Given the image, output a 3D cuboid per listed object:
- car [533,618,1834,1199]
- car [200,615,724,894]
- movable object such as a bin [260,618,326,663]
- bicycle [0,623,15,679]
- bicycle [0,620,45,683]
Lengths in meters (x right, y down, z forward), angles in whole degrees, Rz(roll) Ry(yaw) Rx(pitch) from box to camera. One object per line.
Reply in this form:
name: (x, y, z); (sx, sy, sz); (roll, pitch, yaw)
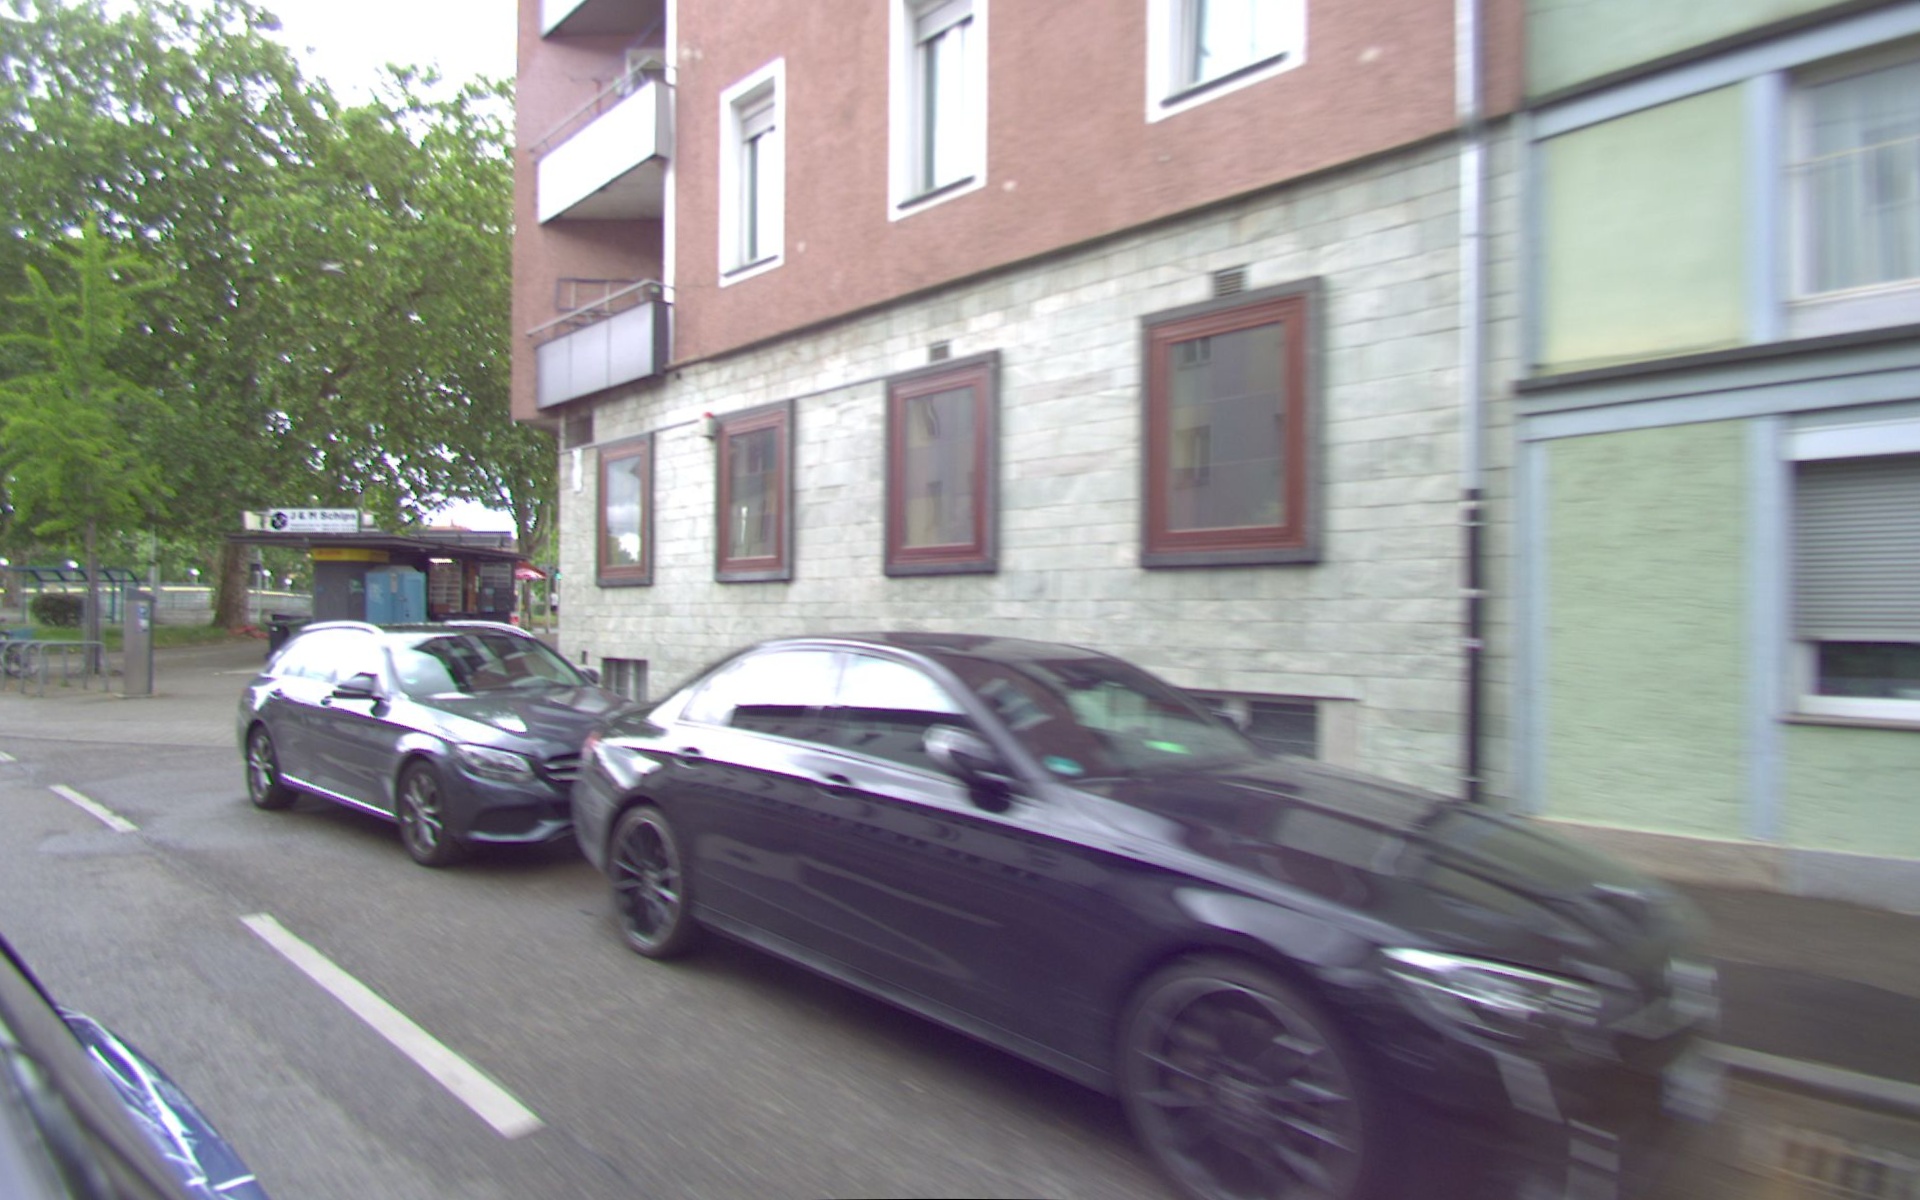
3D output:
car: (0.226, 0.827, 4.086); (4.922, 1.466, 1.808); (0, -1, 44)
car: (-3.925, 0.856, 7.583); (4.580, 1.466, 1.811); (0, -1, 40)
movable object such as a bin: (-15.736, 0.939, 23.900); (1.064, 0.972, 0.673); (-2, 3, 0)
bicycle: (-19.991, 1.054, 20.003); (0.577, 1.122, 1.851); (0, 1, 39)
bicycle: (-18.806, 1.009, 19.356); (0.719, 1.185, 1.796); (0, 1, 18)
